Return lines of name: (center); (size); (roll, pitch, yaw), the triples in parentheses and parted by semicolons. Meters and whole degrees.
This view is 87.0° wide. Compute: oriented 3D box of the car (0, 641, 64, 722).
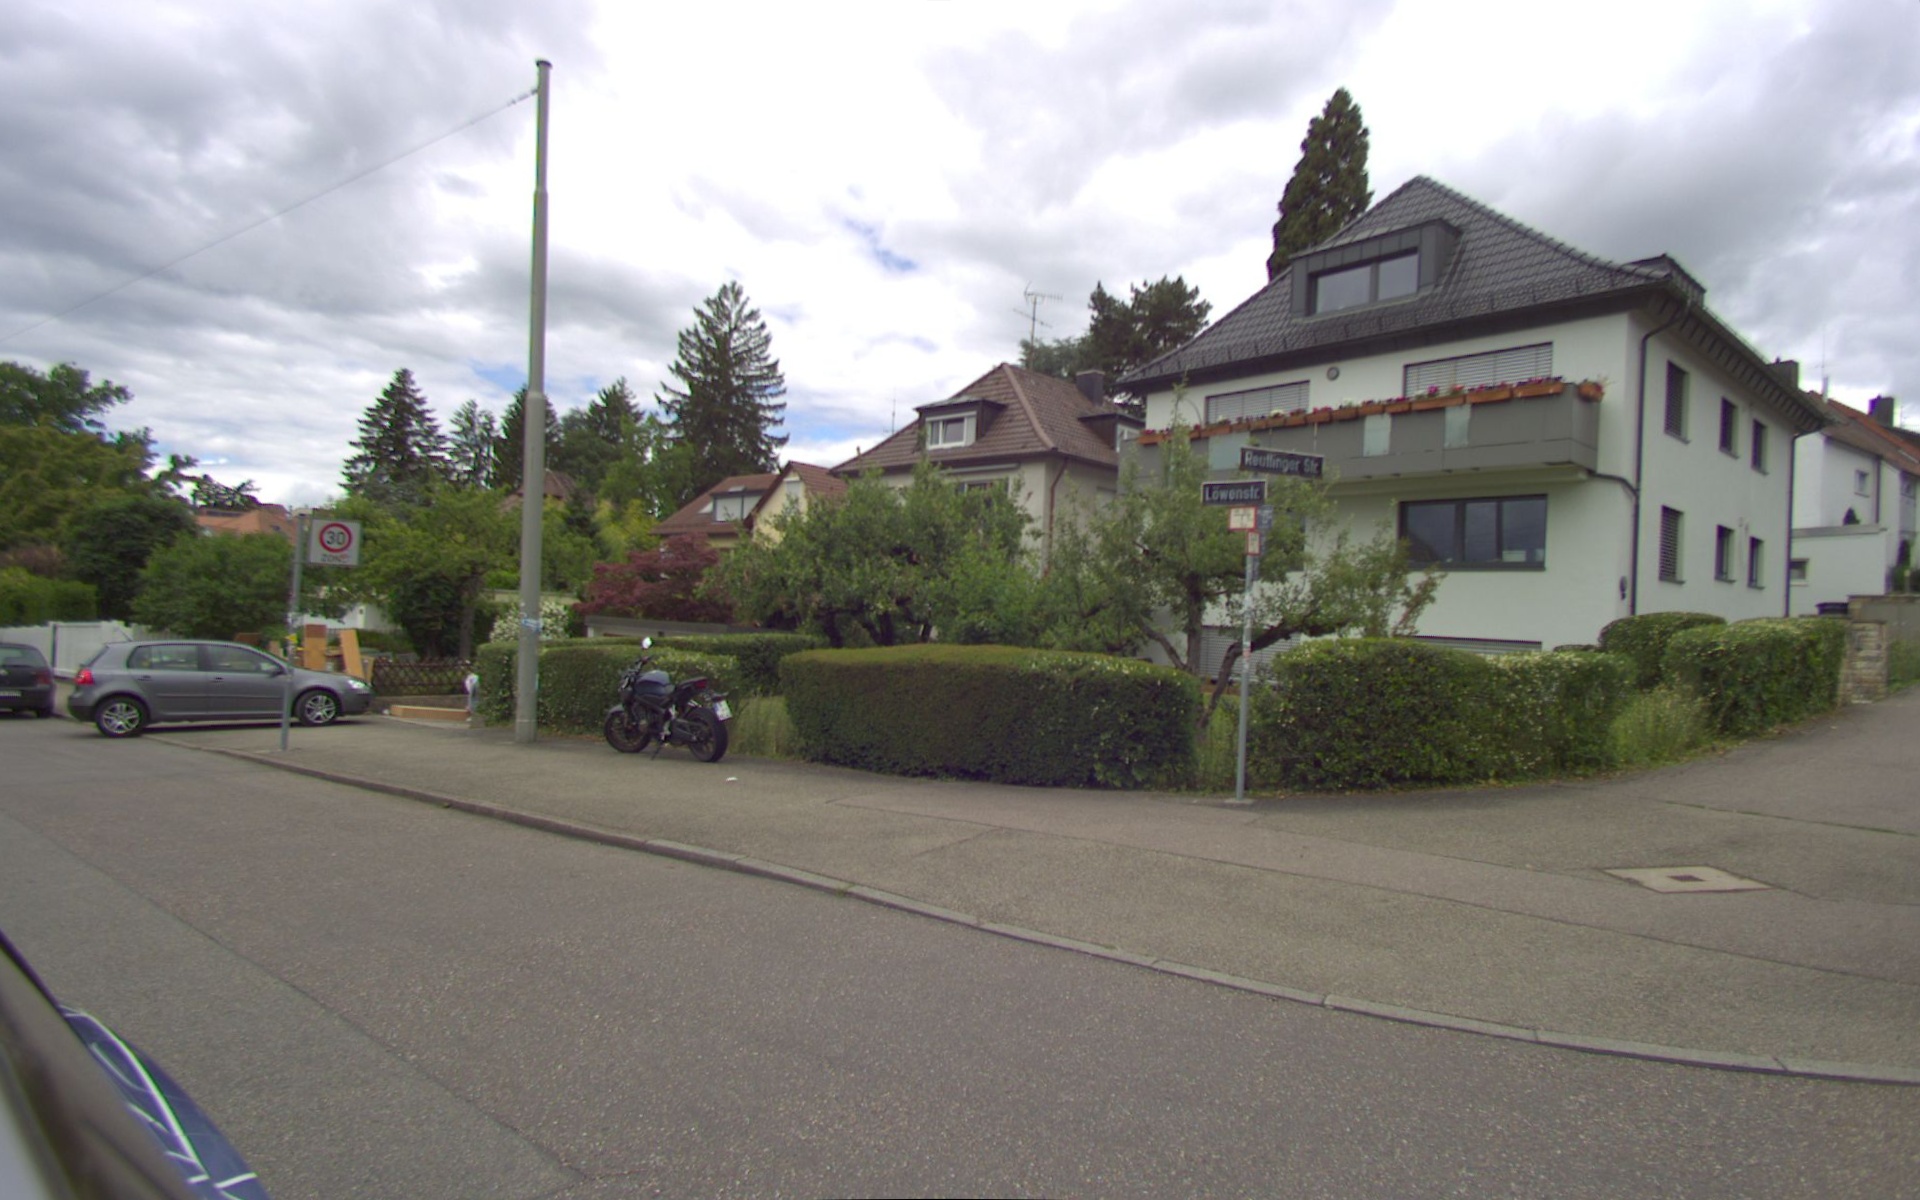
car: (-18.895, 1.516, 19.463); (3.796, 1.455, 1.737); (-2, -5, 38)

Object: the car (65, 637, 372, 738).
car: (-12.115, 1.362, 16.849); (3.932, 1.473, 1.742); (1, -2, -33)

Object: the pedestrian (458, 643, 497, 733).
pedestrian: (-9.991, 1.797, 20.952); (0.635, 1.818, 0.615); (1, -2, -31)

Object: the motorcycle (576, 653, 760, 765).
motorcycle: (-3.319, 1.182, 11.437); (2.139, 1.148, 0.766); (-1, -3, 32)
